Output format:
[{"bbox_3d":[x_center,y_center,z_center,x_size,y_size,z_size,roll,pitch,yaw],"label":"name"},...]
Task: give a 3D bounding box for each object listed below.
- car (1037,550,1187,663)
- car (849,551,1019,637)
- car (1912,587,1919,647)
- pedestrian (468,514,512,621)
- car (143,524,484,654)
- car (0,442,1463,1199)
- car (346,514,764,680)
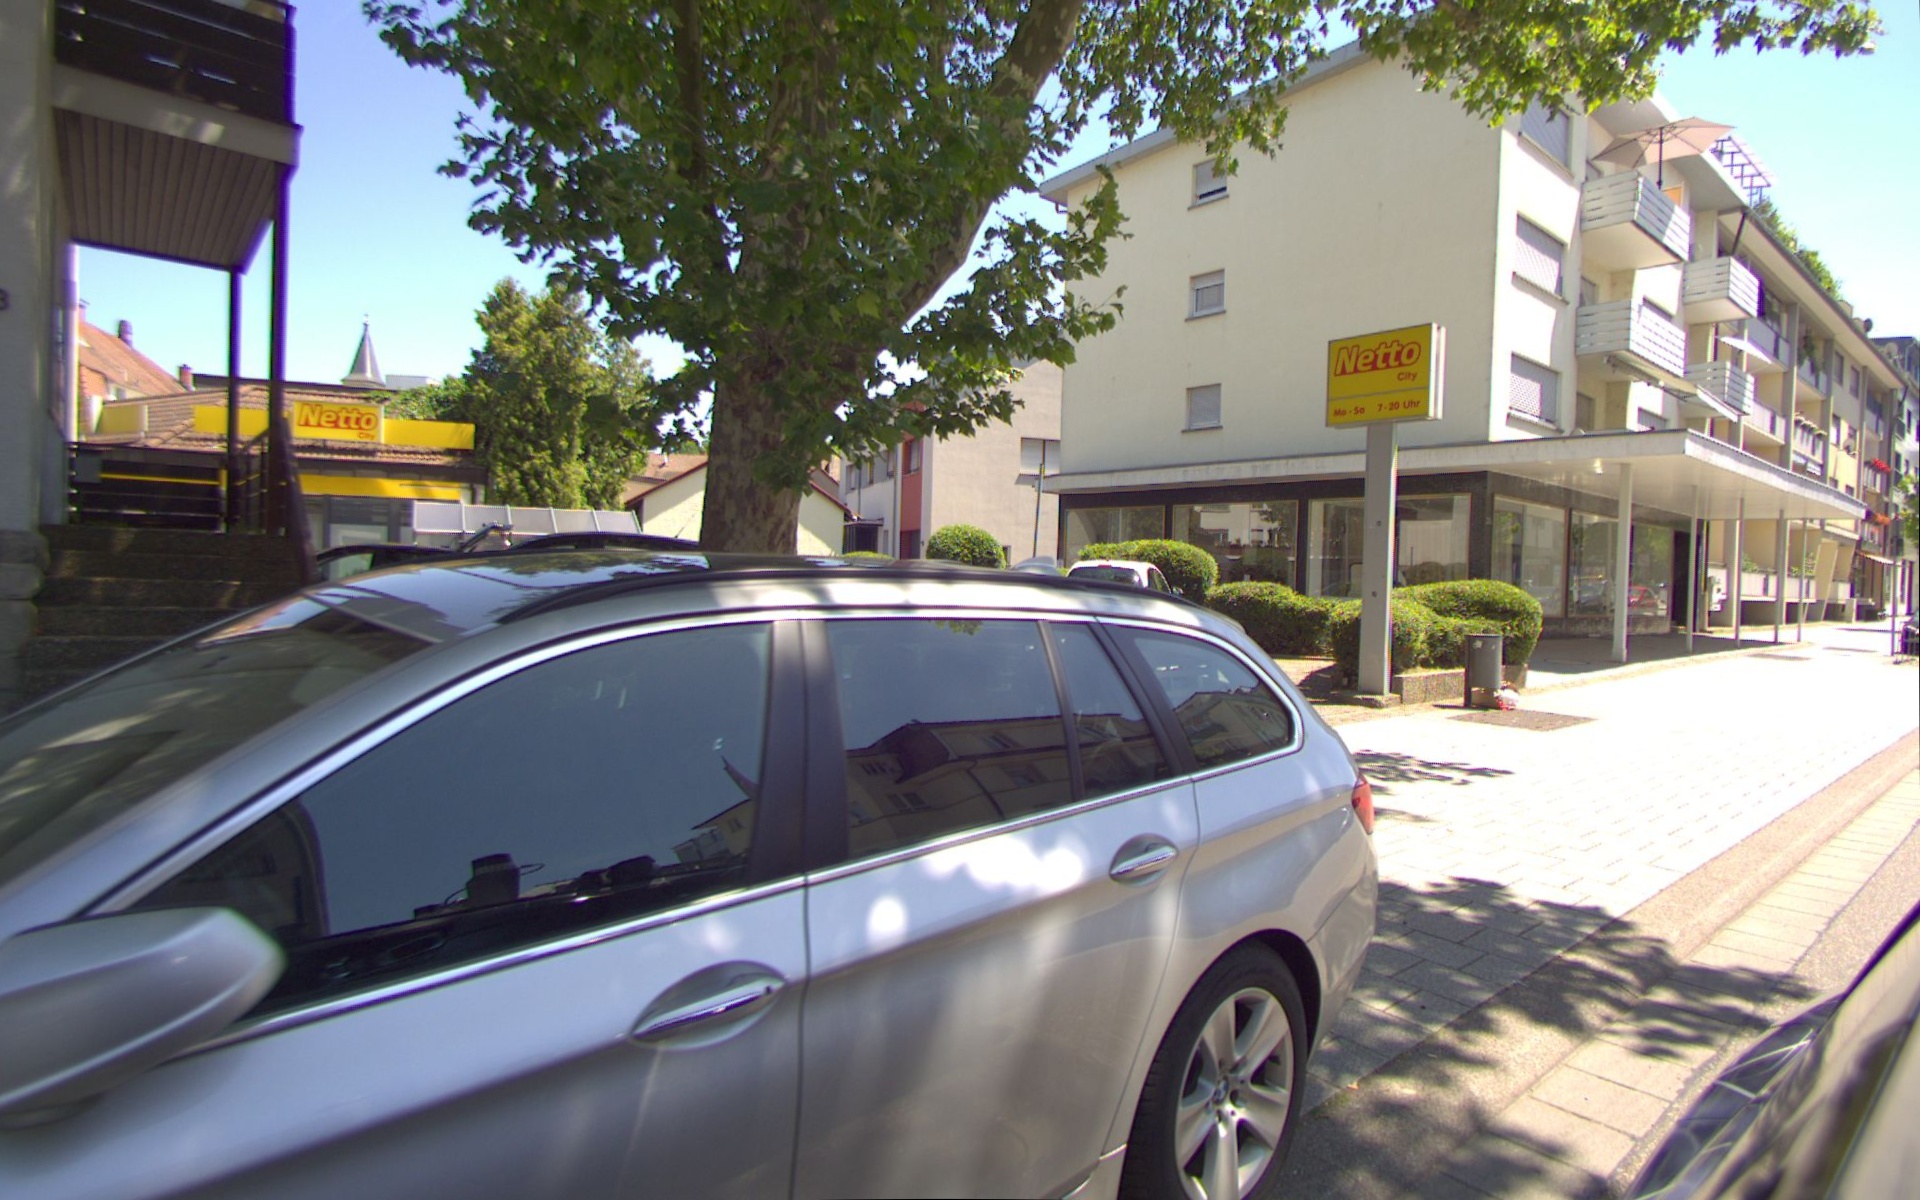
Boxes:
[{"bbox_3d":[2.472,0.031,15.825,1.715,1.518,3.443,2,2,19],"label":"car"},{"bbox_3d":[-0.415,-0.164,19.989,1.724,1.518,3.591,1,2,31],"label":"car"},{"bbox_3d":[24.981,0.475,24.873,4.043,1.403,1.818,0,5,-41],"label":"car"},{"bbox_3d":[-6.669,-0.457,14.363,0.505,1.486,0.606,1,1,-29],"label":"pedestrian"},{"bbox_3d":[-8.598,-0.158,13.804,3.681,1.555,1.845,0,2,-29],"label":"car"},{"bbox_3d":[-1.020,0.573,1.922,4.676,1.529,1.833,0,3,-41],"label":"car"},{"bbox_3d":[-4.388,-0.055,11.187,4.015,1.562,1.693,0,2,-29],"label":"car"}]
